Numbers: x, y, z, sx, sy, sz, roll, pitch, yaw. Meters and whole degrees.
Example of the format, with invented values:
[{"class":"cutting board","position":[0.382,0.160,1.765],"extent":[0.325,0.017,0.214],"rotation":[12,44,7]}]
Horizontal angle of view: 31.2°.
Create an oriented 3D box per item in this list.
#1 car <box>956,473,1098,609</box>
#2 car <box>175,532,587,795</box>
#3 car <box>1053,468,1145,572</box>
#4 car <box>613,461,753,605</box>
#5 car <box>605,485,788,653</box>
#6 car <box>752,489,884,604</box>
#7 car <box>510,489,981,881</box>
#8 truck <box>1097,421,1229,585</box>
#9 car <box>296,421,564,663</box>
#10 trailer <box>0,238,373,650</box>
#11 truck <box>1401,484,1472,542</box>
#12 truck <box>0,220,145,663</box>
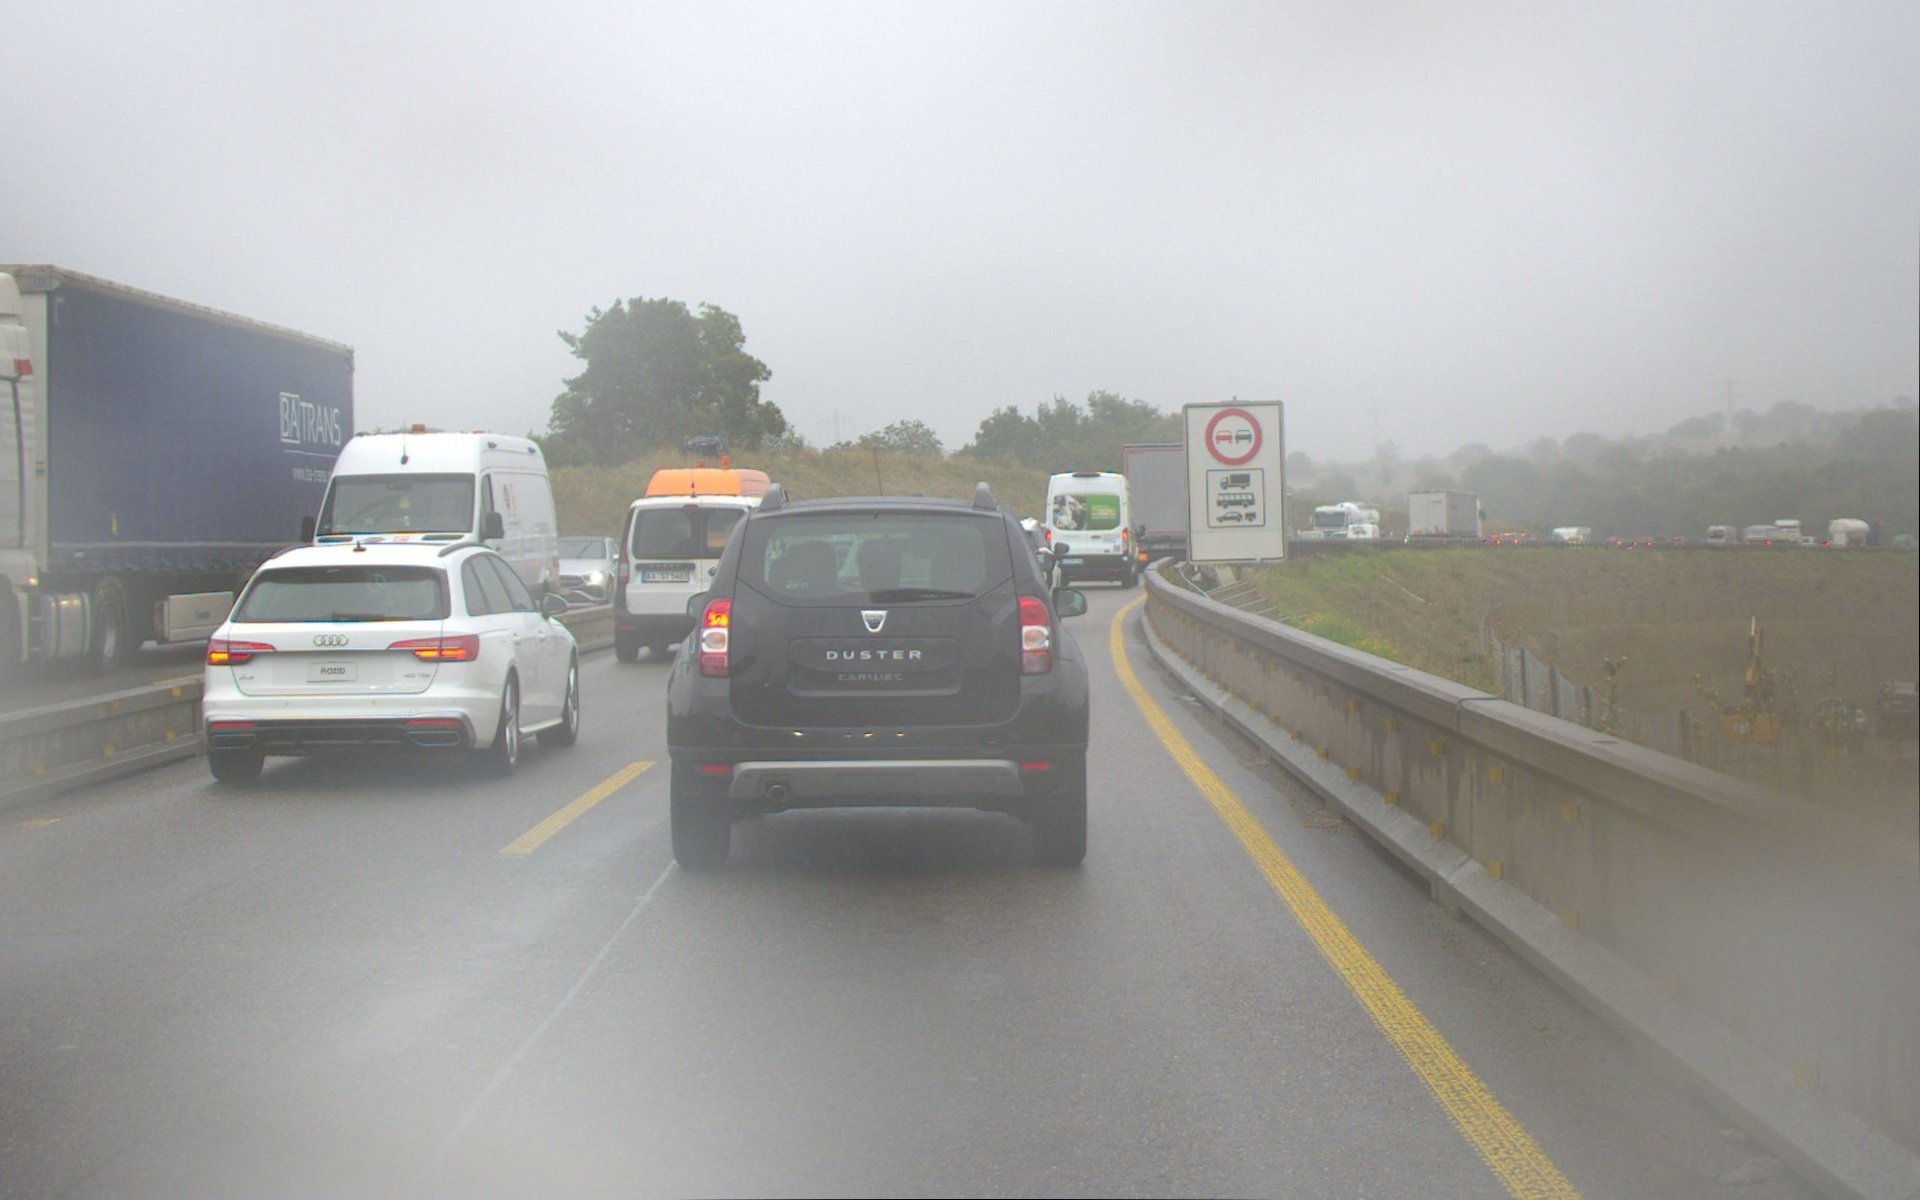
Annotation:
[{"class":"car","position":[0.971,-0.806,47.751],"extent":[1.826,1.809,4.000],"rotation":[0,1,3]},{"class":"car","position":[-3.511,0.341,21.556],"extent":[1.826,1.494,4.000],"rotation":[0,1,1]},{"class":"car","position":[3.371,-1.903,82.665],"extent":[1.827,2.429,4.157],"rotation":[0,1,7]},{"class":"car","position":[-5.178,-1.302,65.076],"extent":[2.054,2.568,7.021],"rotation":[0,2,0]},{"class":"car","position":[-2.946,-0.362,39.129],"extent":[1.826,1.809,4.000],"rotation":[0,1,-1]},{"class":"car","position":[-2.286,-0.862,56.213],"extent":[1.826,1.809,4.000],"rotation":[0,1,2]},{"class":"car","position":[-0.859,0.323,15.930],"extent":[1.826,1.585,4.000],"rotation":[0,1,2]},{"class":"truck","position":[6.684,-3.051,111.692],"extent":[3.545,5.060,10.439],"rotation":[0,1,7]},{"class":"car","position":[-6.189,-0.758,41.039],"extent":[2.006,2.644,6.885],"rotation":[0,2,1]},{"class":"trailer","position":[-9.750,-1.772,40.532],"extent":[2.779,4.021,13.741],"rotation":[0,2,2]},{"class":"truck","position":[31.542,-5.798,227.244],"extent":[3.474,3.702,8.412],"rotation":[-1,2,16]},{"class":"truck","position":[-10.041,-1.509,33.078],"extent":[2.788,4.021,5.820],"rotation":[0,2,2]}]
